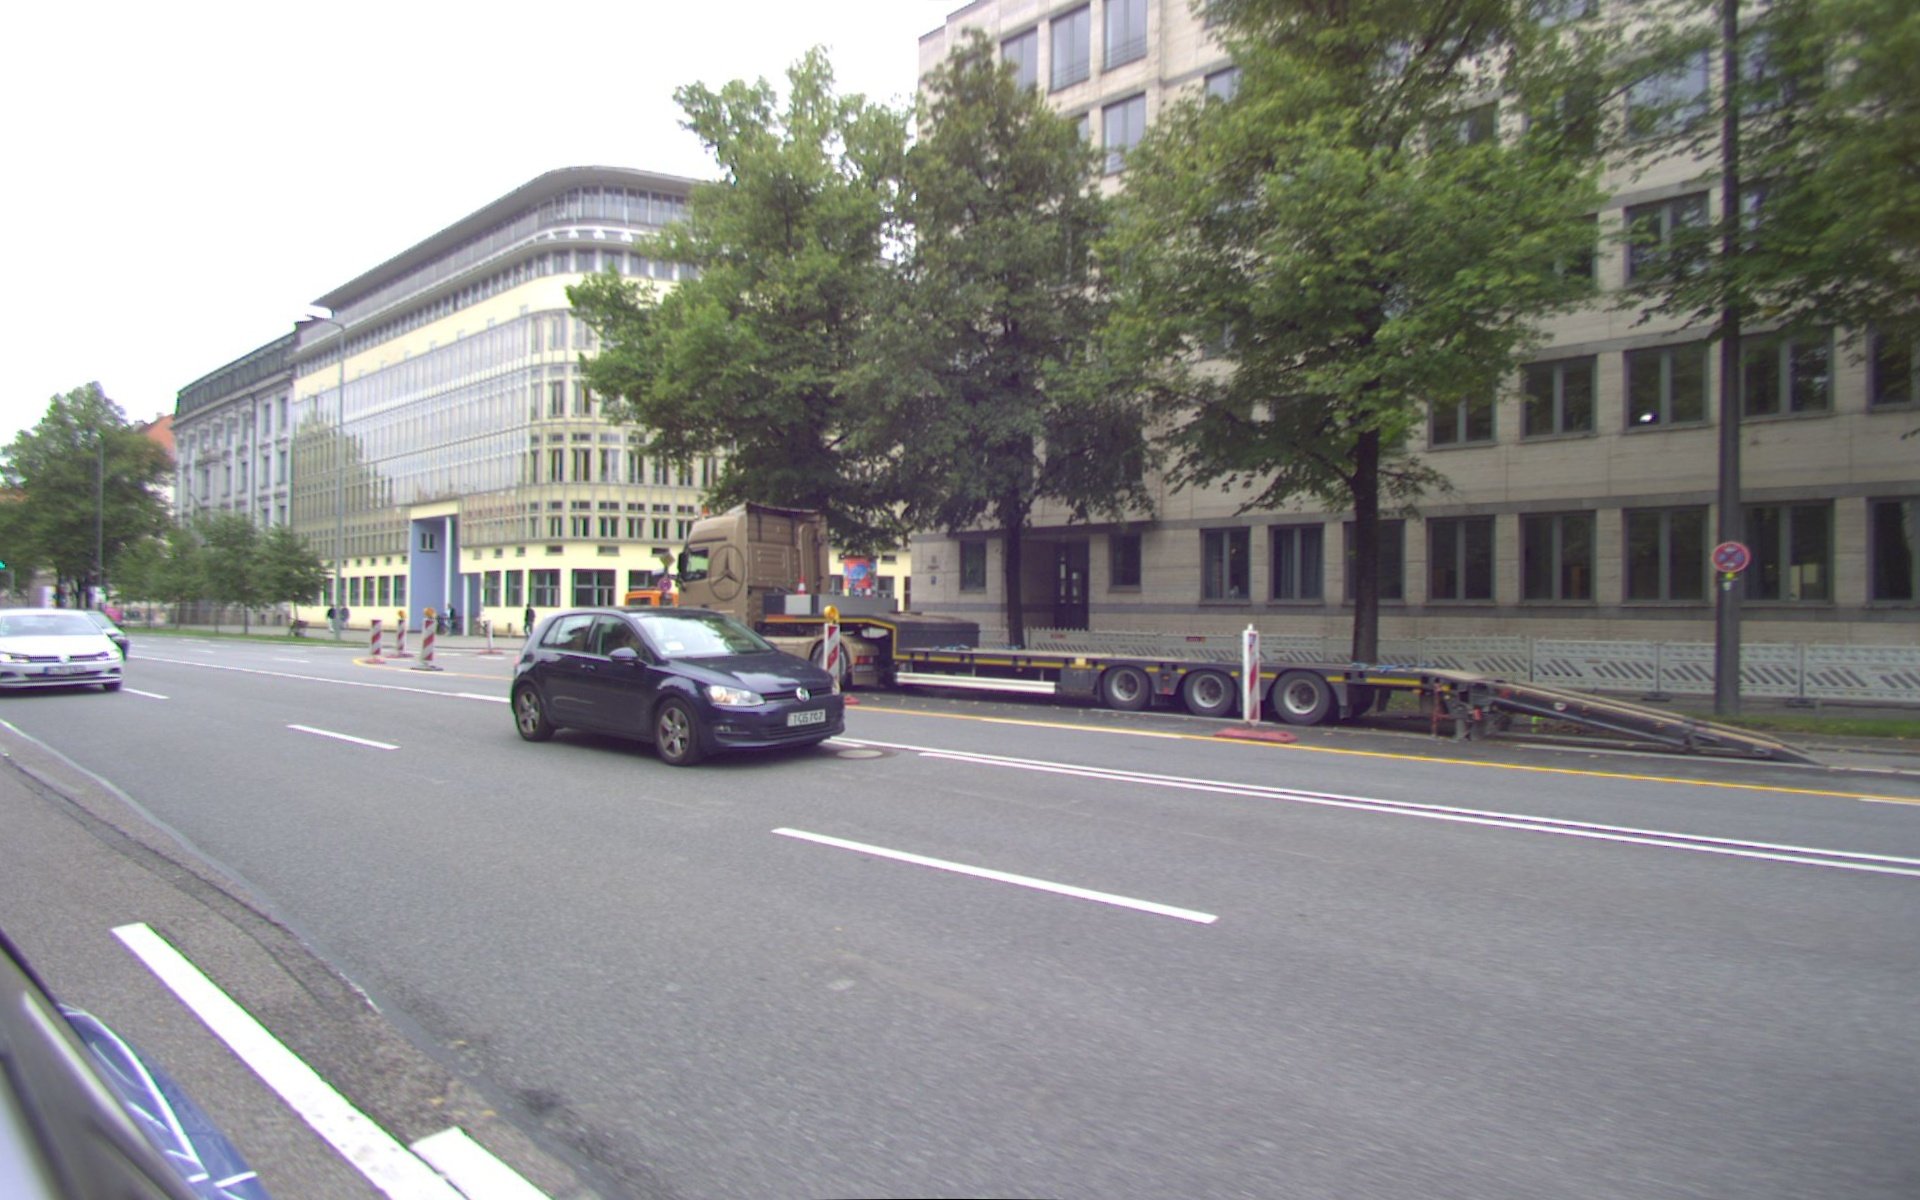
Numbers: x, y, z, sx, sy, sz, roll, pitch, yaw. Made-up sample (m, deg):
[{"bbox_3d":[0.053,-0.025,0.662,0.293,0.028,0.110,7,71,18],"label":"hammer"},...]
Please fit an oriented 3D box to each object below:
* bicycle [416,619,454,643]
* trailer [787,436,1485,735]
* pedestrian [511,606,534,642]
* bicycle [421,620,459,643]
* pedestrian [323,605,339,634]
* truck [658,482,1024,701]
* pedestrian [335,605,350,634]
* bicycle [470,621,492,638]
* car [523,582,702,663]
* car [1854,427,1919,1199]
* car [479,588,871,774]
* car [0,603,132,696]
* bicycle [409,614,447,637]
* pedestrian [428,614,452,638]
[{"bbox_3d":[-31.415,1.852,60.594,0.573,1.328,1.991,-1,0,34],"label":"bicycle"},{"bbox_3d":[2.242,-0.145,17.378,11.746,3.768,2.923,-1,0,36],"label":"trailer"},{"bbox_3d":[-21.587,1.182,49.932,0.978,1.746,0.817,-1,0,-19],"label":"pedestrian"},{"bbox_3d":[-30.913,1.871,60.214,0.573,1.328,1.991,-1,0,34],"label":"bicycle"},{"bbox_3d":[-39.716,1.222,63.906,0.835,1.790,0.609,-1,0,41],"label":"pedestrian"},{"bbox_3d":[-2.664,-0.130,20.998,7.651,3.803,2.890,-1,0,36],"label":"truck"},{"bbox_3d":[-39.288,1.238,64.385,0.835,1.790,0.609,-1,0,41],"label":"pedestrian"},{"bbox_3d":[-25.791,1.576,54.492,1.737,0.884,0.471,-1,-2,44],"label":"bicycle"},{"bbox_3d":[-11.804,0.771,34.799,2.152,2.556,5.629,-1,-2,36],"label":"car"},{"bbox_3d":[3.882,0.580,0.543,5.022,1.649,1.774,0,-1,40],"label":"car"},{"bbox_3d":[-3.047,0.692,10.336,4.335,1.528,1.674,-1,-1,39],"label":"car"},{"bbox_3d":[-16.197,0.788,17.792,4.271,1.458,1.774,0,-1,40],"label":"car"},{"bbox_3d":[-32.109,1.531,61.085,0.637,1.328,1.991,-1,0,35],"label":"bicycle"},{"bbox_3d":[-30.116,1.498,58.606,1.085,1.375,0.829,-1,-2,40],"label":"pedestrian"}]
